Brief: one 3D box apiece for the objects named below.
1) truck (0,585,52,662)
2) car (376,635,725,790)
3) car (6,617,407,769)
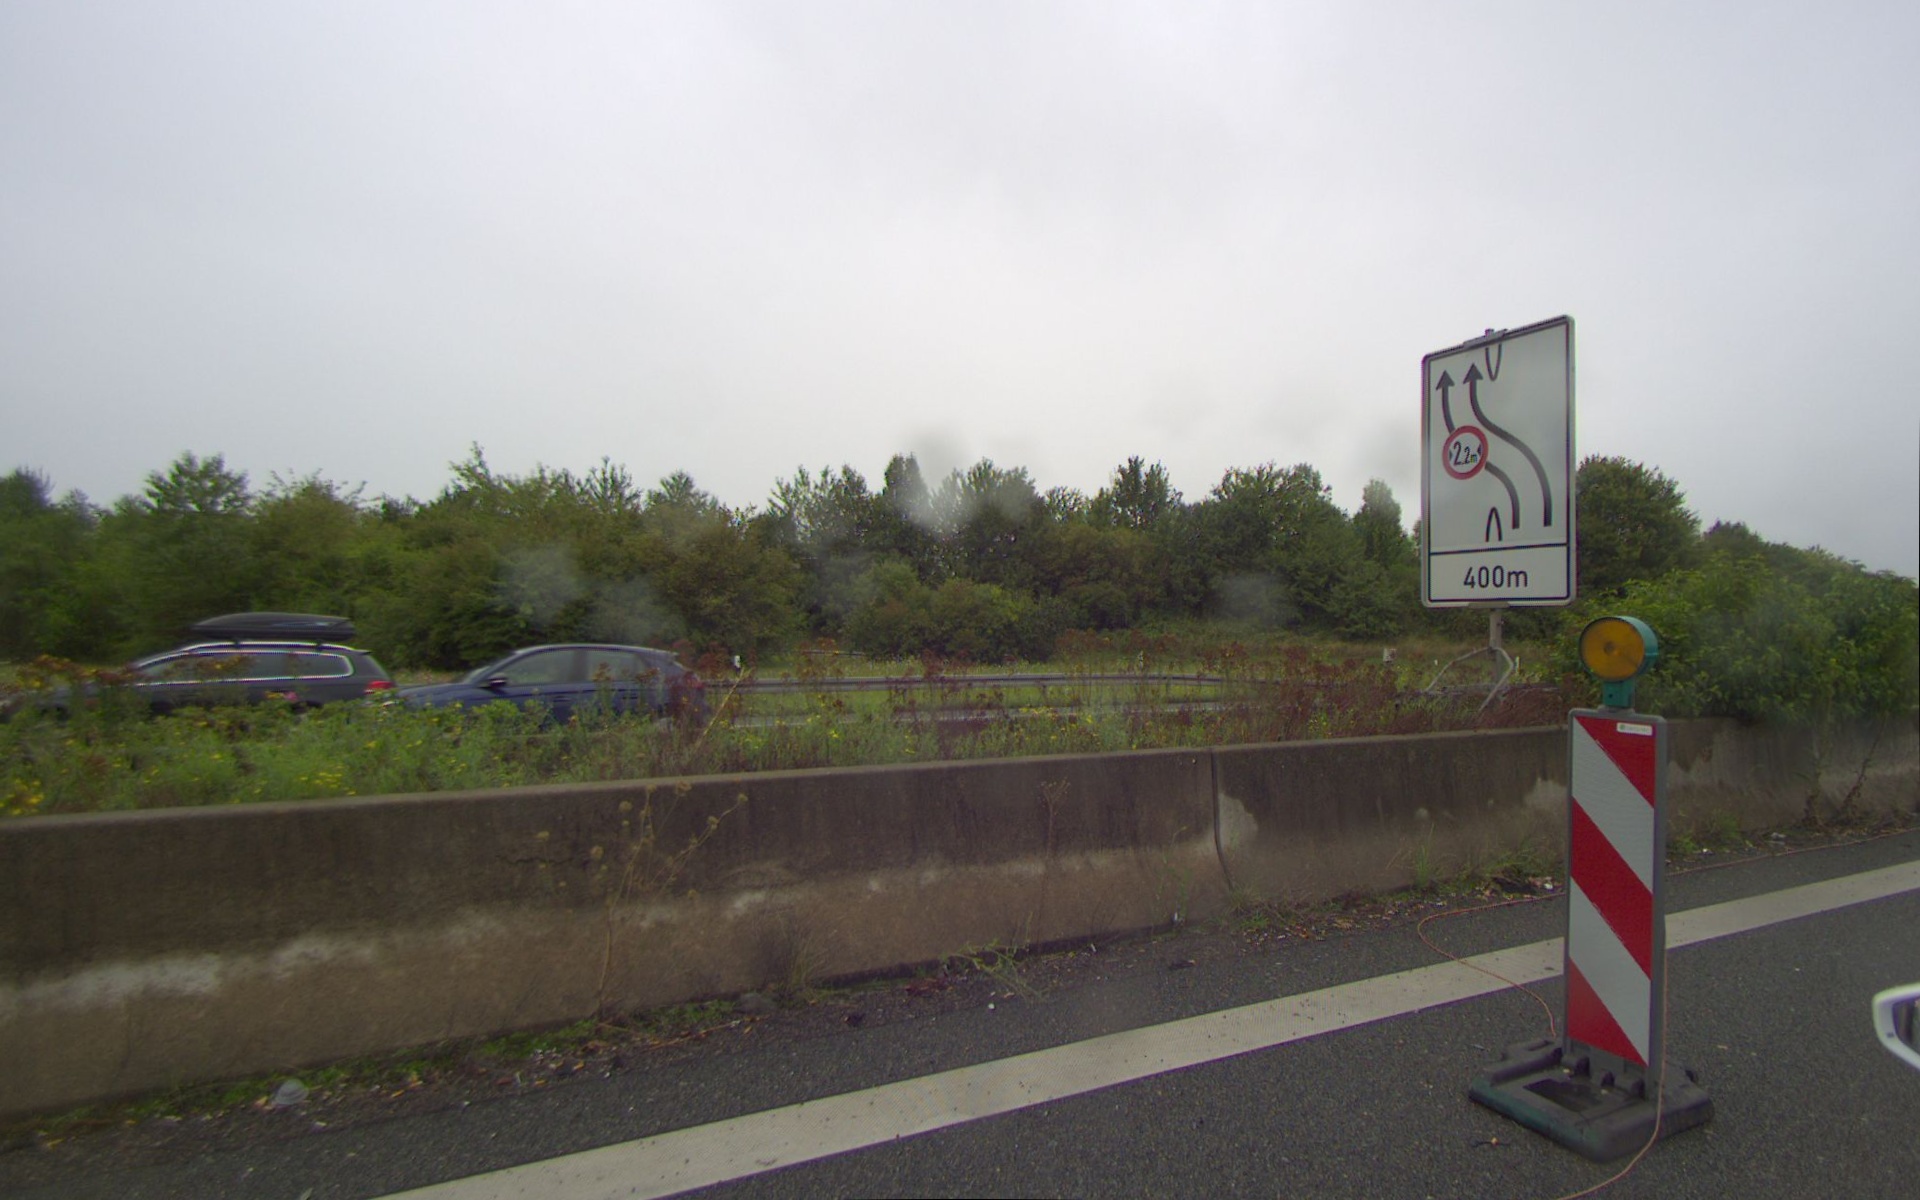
[{"bbox_3d":[-46.408,1.026,45.540,2.859,3.667,14.506,1,-2,-22],"label":"truck"},{"bbox_3d":[-4.800,1.258,11.973,3.615,1.552,1.446,2,0,-28],"label":"car"},{"bbox_3d":[-10.093,1.175,13.951,4.180,1.813,1.984,1,-2,-30],"label":"car"}]
